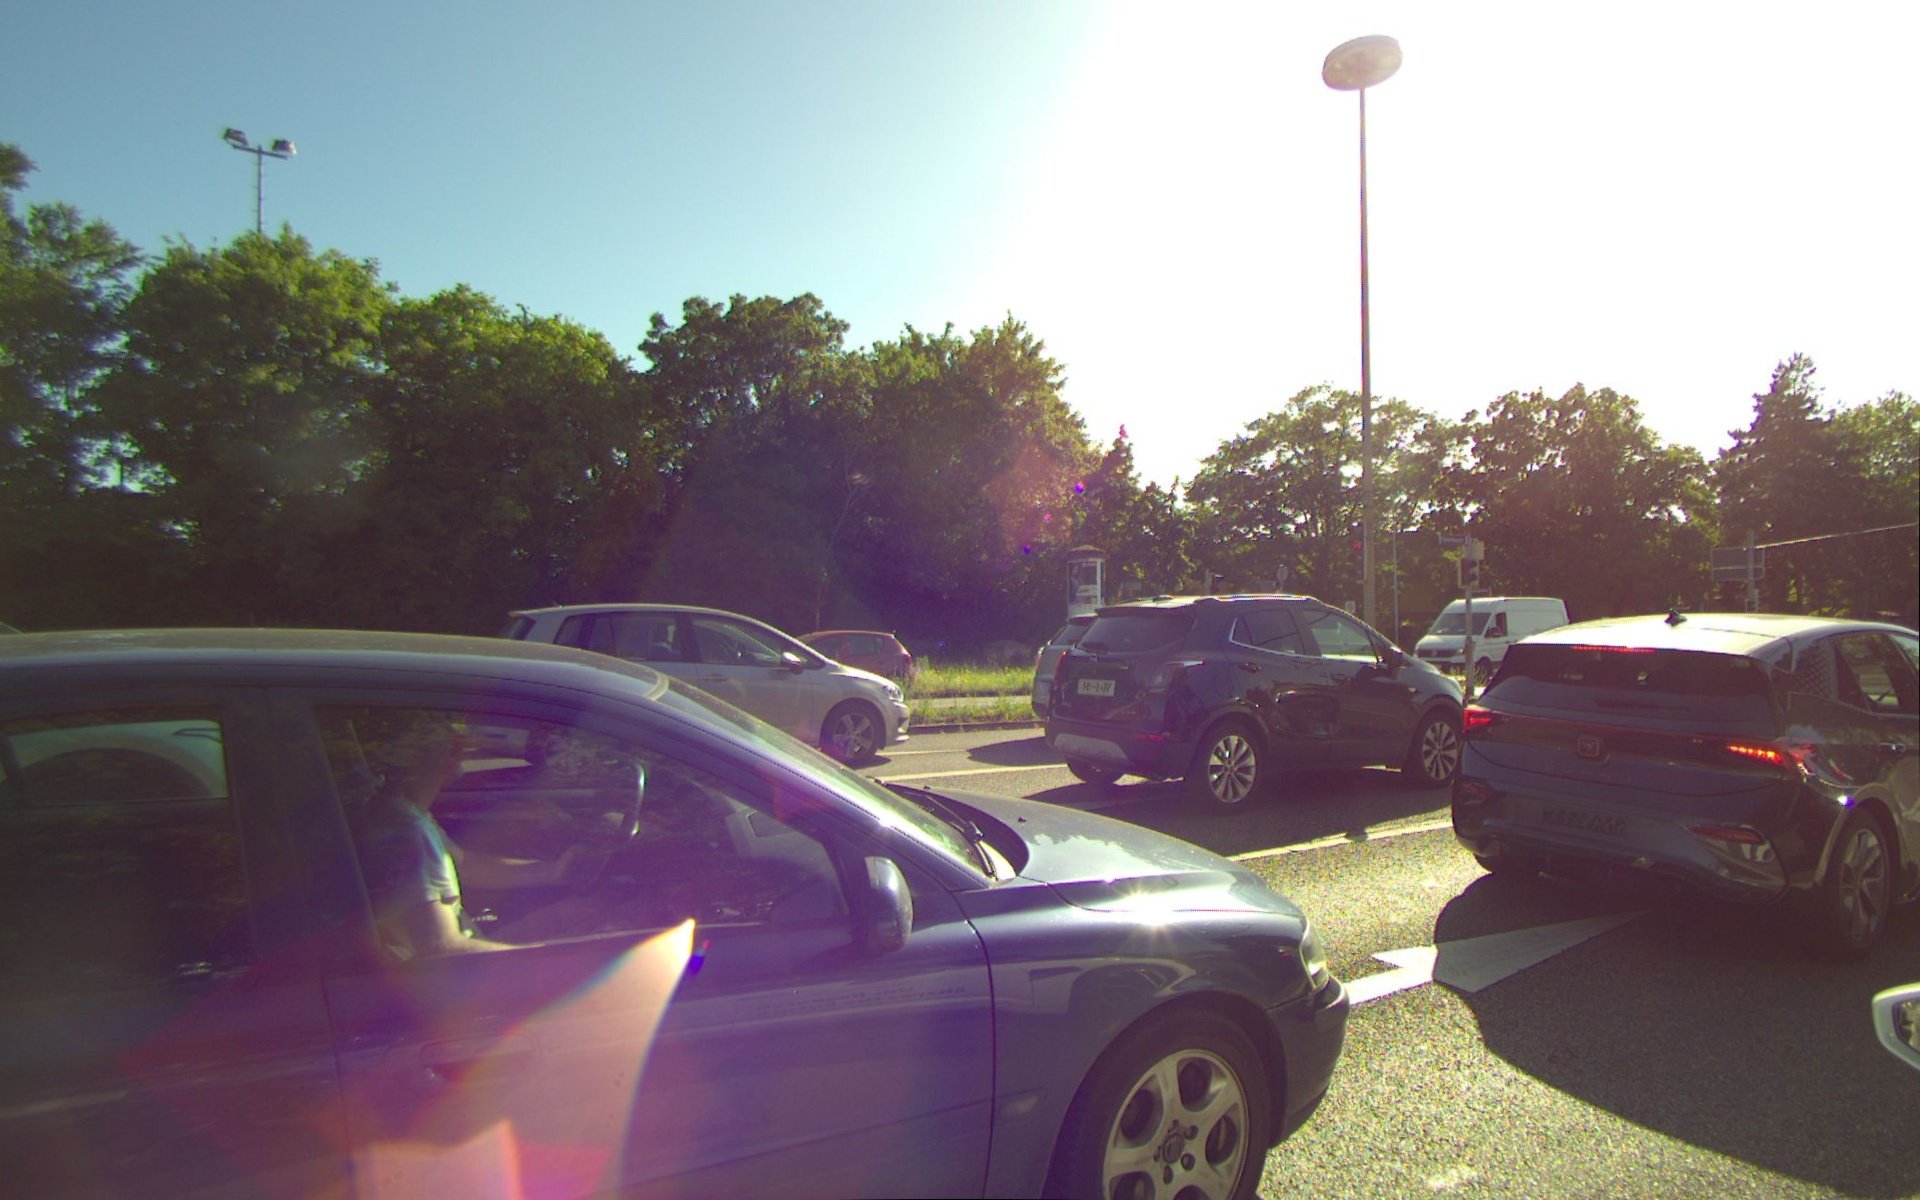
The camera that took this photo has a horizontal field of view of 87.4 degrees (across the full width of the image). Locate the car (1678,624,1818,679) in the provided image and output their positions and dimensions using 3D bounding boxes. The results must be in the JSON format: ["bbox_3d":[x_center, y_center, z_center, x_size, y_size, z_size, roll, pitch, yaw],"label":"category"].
[{"bbox_3d":[25.267,1.612,32.184,4.561,1.622,1.984,1,-2,-30],"label":"car"}]

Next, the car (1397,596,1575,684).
[{"bbox_3d":[16.422,1.218,31.266,5.934,2.525,2.090,1,-2,-30],"label":"car"}]

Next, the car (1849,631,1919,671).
[{"bbox_3d":[36.893,1.966,39.433,4.116,1.482,1.768,1,-2,-30],"label":"car"}]

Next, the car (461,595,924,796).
[{"bbox_3d":[-2.607,0.834,10.011,4.156,1.632,1.822,1,-2,-30],"label":"car"}]

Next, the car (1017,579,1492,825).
[{"bbox_3d":[2.627,0.769,8.800,3.953,1.711,1.796,1,-2,-30],"label":"car"}]

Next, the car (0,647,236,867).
[{"bbox_3d":[-7.907,1.074,6.949,4.499,1.448,1.822,1,-2,-30],"label":"car"}]

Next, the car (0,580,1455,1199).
[{"bbox_3d":[-1.090,0.725,2.207,4.404,1.471,1.767,2,0,-30],"label":"car"}]

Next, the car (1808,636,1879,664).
[{"bbox_3d":[40.398,2.252,45.915,3.593,1.251,1.383,1,-2,-30],"label":"car"}]

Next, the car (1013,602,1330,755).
[{"bbox_3d":[2.817,0.952,13.187,3.956,1.724,1.820,1,-2,-32],"label":"car"}]

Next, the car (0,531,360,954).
[{"bbox_3d":[-5.274,0.596,4.497,4.373,1.732,1.984,1,-2,-30],"label":"car"}]

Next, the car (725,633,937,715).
[{"bbox_3d":[-2.585,1.429,20.415,3.956,1.529,1.678,1,-2,-30],"label":"car"}]

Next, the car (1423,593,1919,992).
[{"bbox_3d":[4.746,0.827,5.821,4.158,1.601,1.676,2,-1,-30],"label":"car"}]
